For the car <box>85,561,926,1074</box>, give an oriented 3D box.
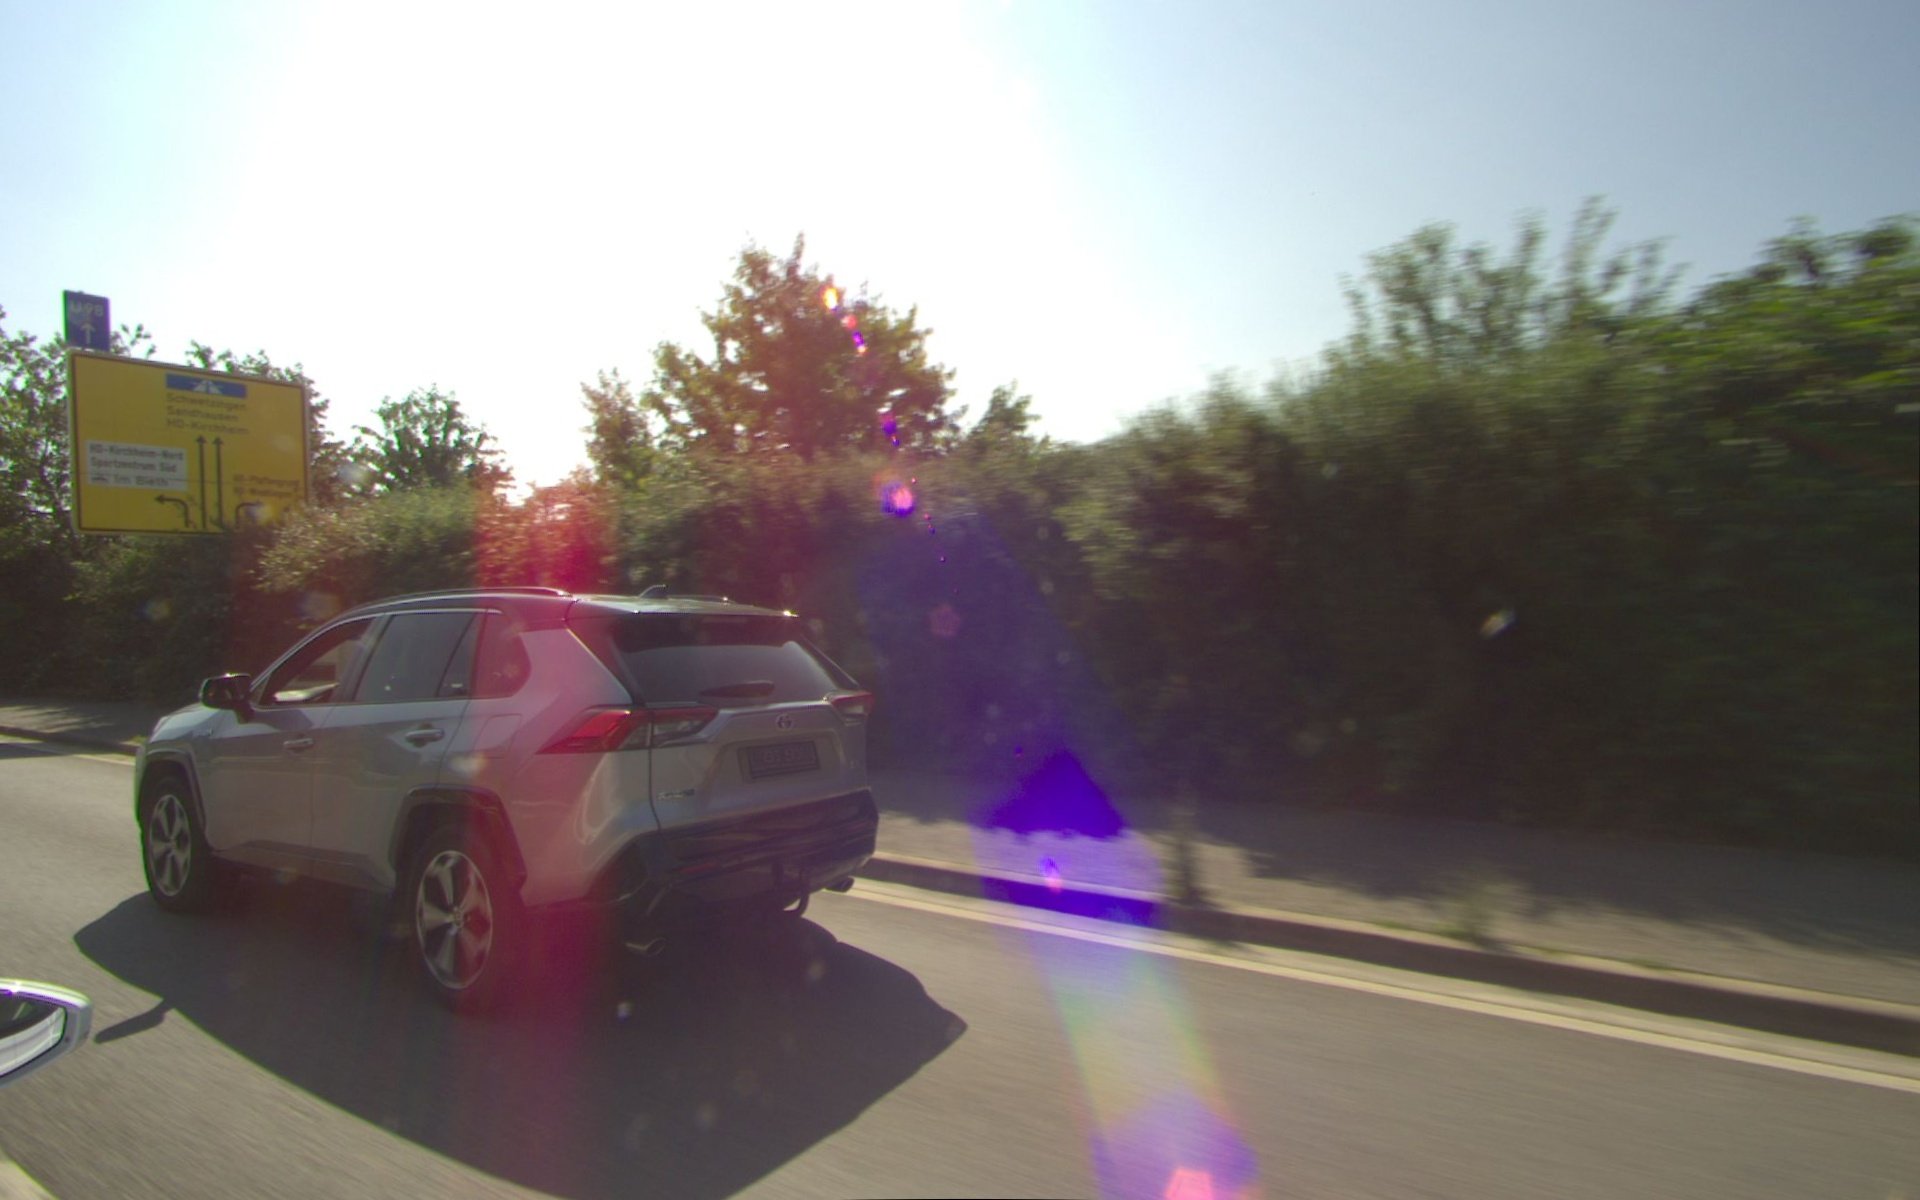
[{"bbox_3d":[-2.613,0.787,5.381,4.616,1.701,1.899,-1,-2,32],"label":"car"}]
